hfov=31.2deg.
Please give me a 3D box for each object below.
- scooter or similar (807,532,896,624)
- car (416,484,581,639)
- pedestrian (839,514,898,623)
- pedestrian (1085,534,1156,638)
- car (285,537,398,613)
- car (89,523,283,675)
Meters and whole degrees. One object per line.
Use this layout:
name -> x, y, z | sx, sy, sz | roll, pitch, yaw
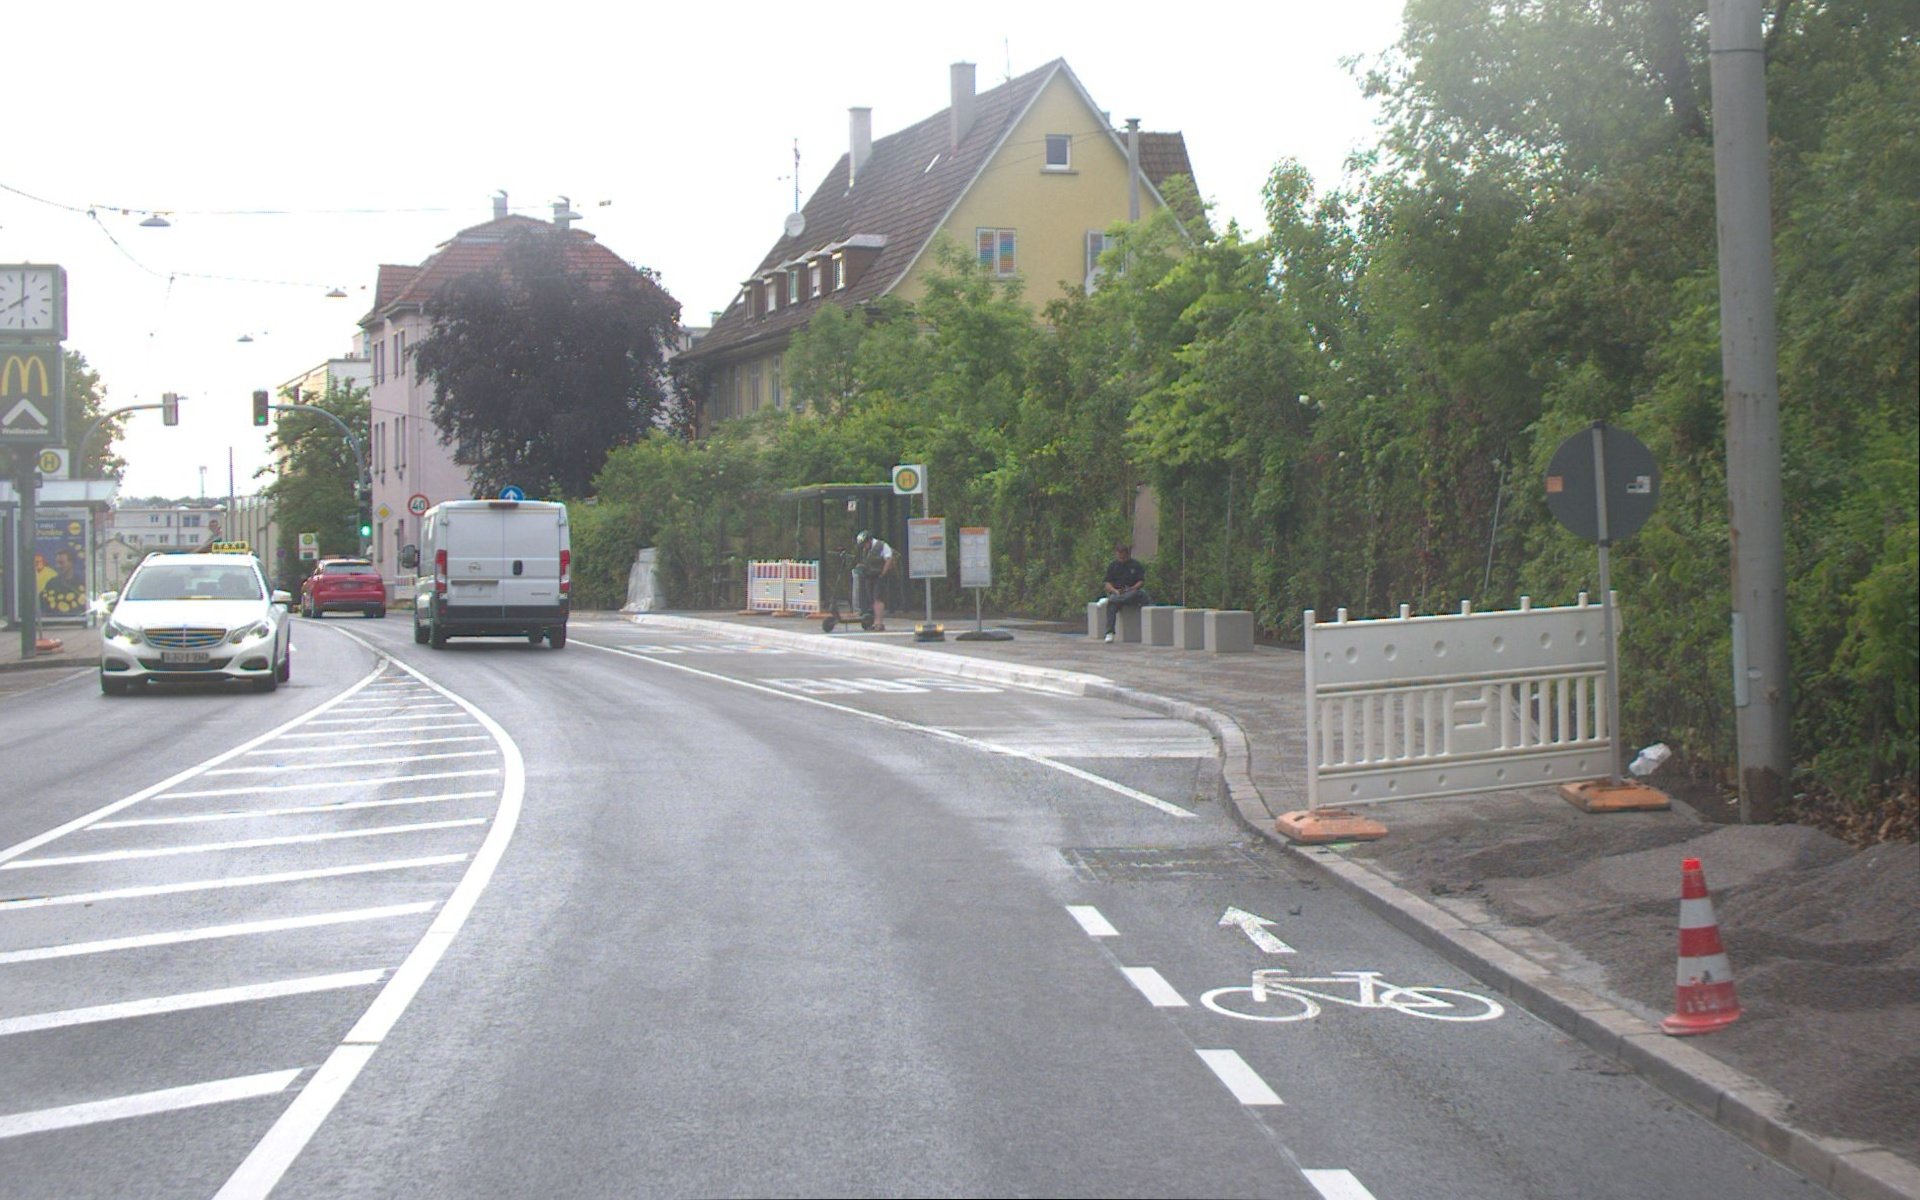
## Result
scooter or similar -> -1.741, -0.366, 55.531 | 0.497, 1.401, 1.552 | 3, 5, 42
car -> -7.198, -0.645, 53.235 | 2.237, 2.205, 4.715 | 1, 3, -11
pedestrian -> -1.477, -0.519, 55.529 | 0.905, 1.725, 0.654 | 1, 2, -1
pedestrian -> 2.186, -0.198, 46.997 | 0.879, 1.362, 1.065 | 1, 2, -1
car -> -15.133, -0.625, 83.946 | 2.237, 1.651, 4.715 | 0, 3, -16
car -> -8.523, -0.011, 38.166 | 1.928, 1.550, 4.621 | 1, 0, -11
